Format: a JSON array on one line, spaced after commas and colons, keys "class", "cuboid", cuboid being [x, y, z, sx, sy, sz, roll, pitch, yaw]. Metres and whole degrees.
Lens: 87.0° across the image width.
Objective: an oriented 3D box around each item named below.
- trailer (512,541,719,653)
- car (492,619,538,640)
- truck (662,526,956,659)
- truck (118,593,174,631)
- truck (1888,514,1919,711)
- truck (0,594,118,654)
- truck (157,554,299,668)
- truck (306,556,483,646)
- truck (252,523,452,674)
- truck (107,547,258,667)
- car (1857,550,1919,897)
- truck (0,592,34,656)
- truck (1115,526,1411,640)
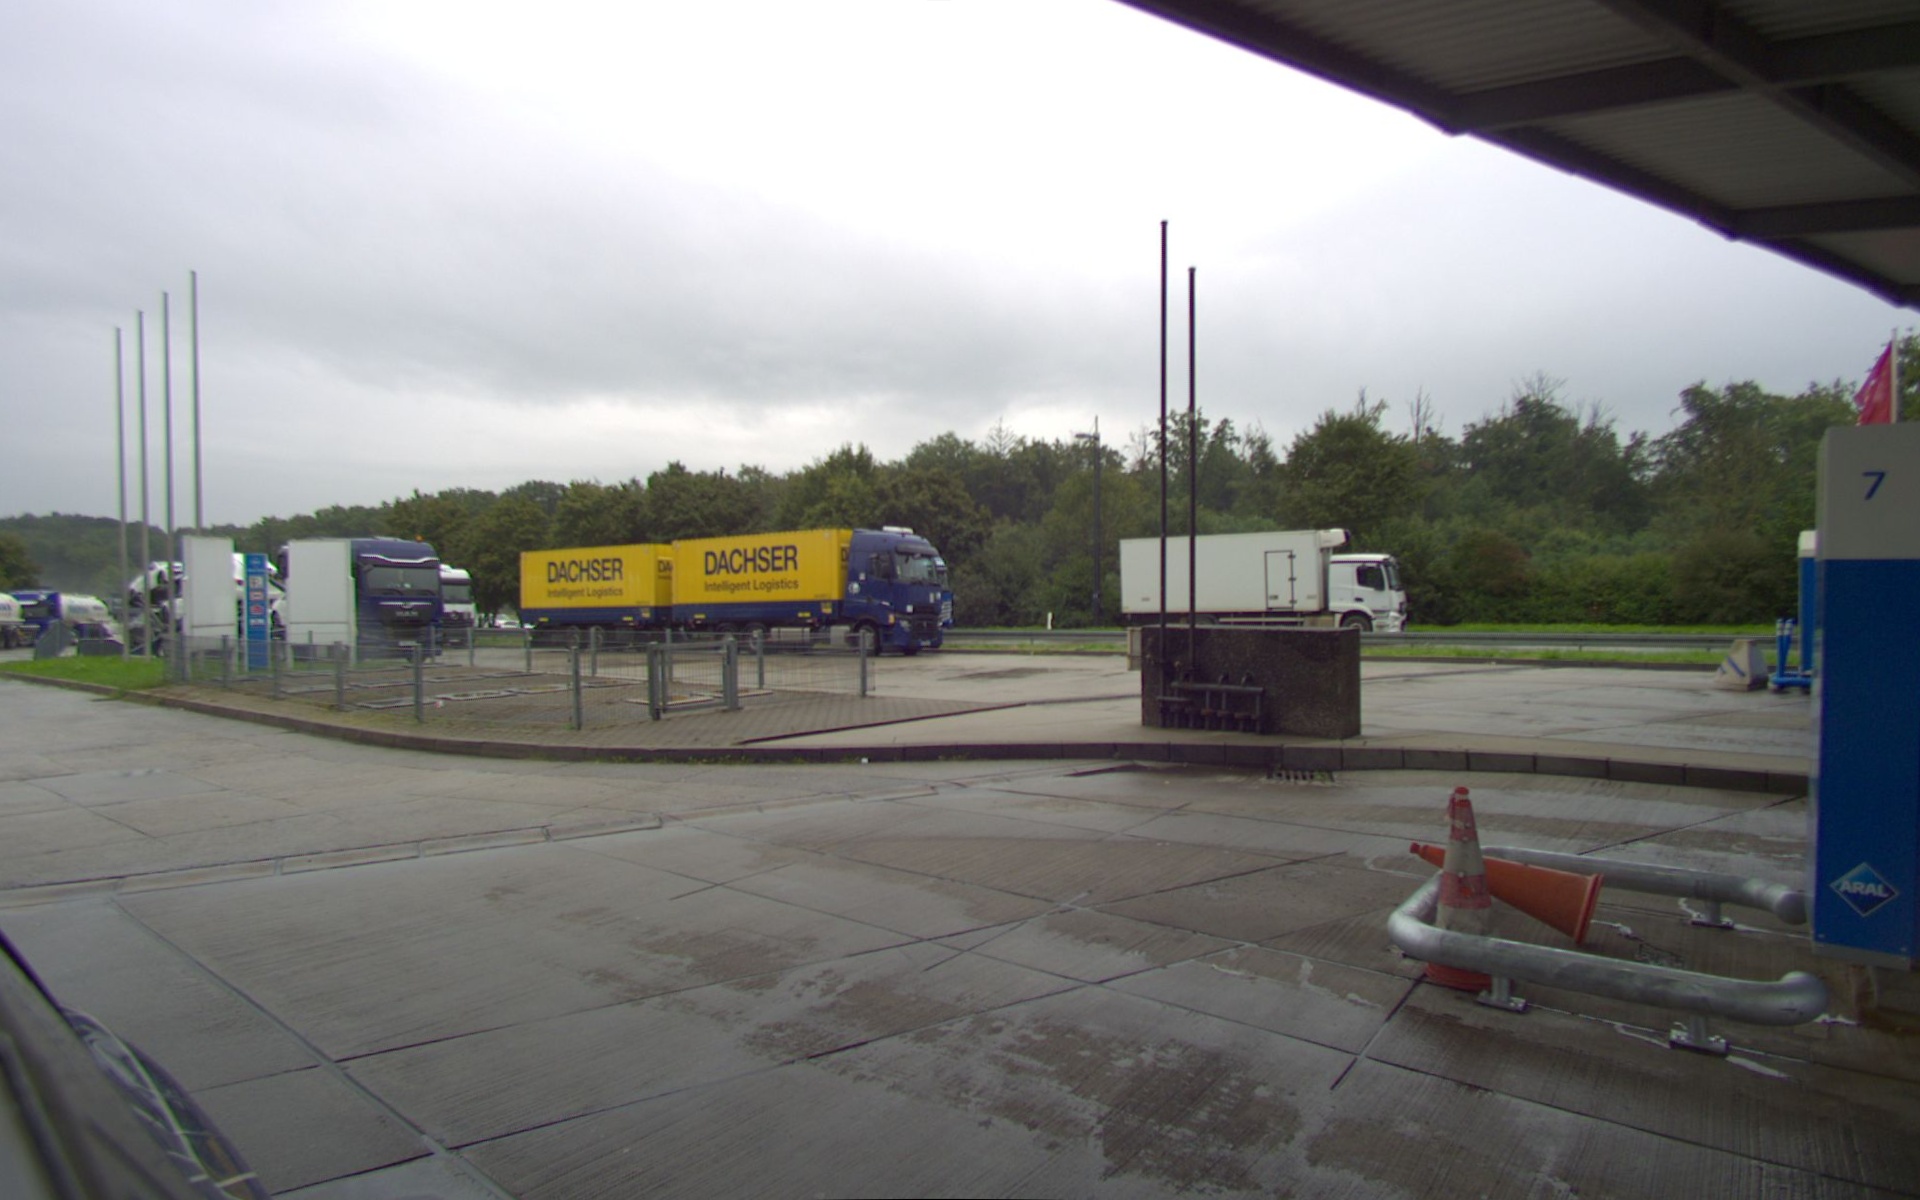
[{"class": "trailer", "cuboid": [-13.494, -0.076, 39.251, 8.679, 3.946, 2.728, -1, 0, 32]}, {"class": "car", "cuboid": [-41.603, 2.736, 94.657, 4.355, 1.904, 1.712, -1, 0, 30]}, {"class": "truck", "cuboid": [-5.332, -0.180, 34.021, 10.654, 3.946, 2.727, -1, 0, 33]}, {"class": "truck", "cuboid": [-112.835, 1.670, 140.216, 11.498, 5.160, 3.109, -1, 0, 36]}, {"class": "truck", "cuboid": [14.998, 0.125, 11.947, 5.859, 2.513, 2.208, -1, 0, 41]}, {"class": "truck", "cuboid": [-61.490, 1.614, 68.648, 3.454, 3.633, 14.709, -1, -1, -27]}, {"class": "truck", "cuboid": [-26.102, 0.392, 36.066, 4.738, 3.800, 2.635, -1, 0, 34]}, {"class": "truck", "cuboid": [-27.314, 0.099, 48.621, 10.654, 3.946, 2.727, -1, 0, 33]}, {"class": "truck", "cuboid": [-19.004, 0.008, 31.470, 7.089, 4.213, 2.635, -1, 0, 35]}, {"class": "truck", "cuboid": [-29.584, 0.295, 38.439, 6.605, 4.213, 2.635, -1, 0, 35]}, {"class": "car", "cuboid": [6.915, 0.544, 3.793, 5.269, 1.620, 1.842, -1, 0, 41]}, {"class": "truck", "cuboid": [-55.151, 1.332, 53.681, 3.454, 3.633, 14.444, -1, -1, -19]}, {"class": "truck", "cuboid": [10.974, -0.519, 37.441, 10.195, 3.836, 2.395, -1, 0, 31]}]
